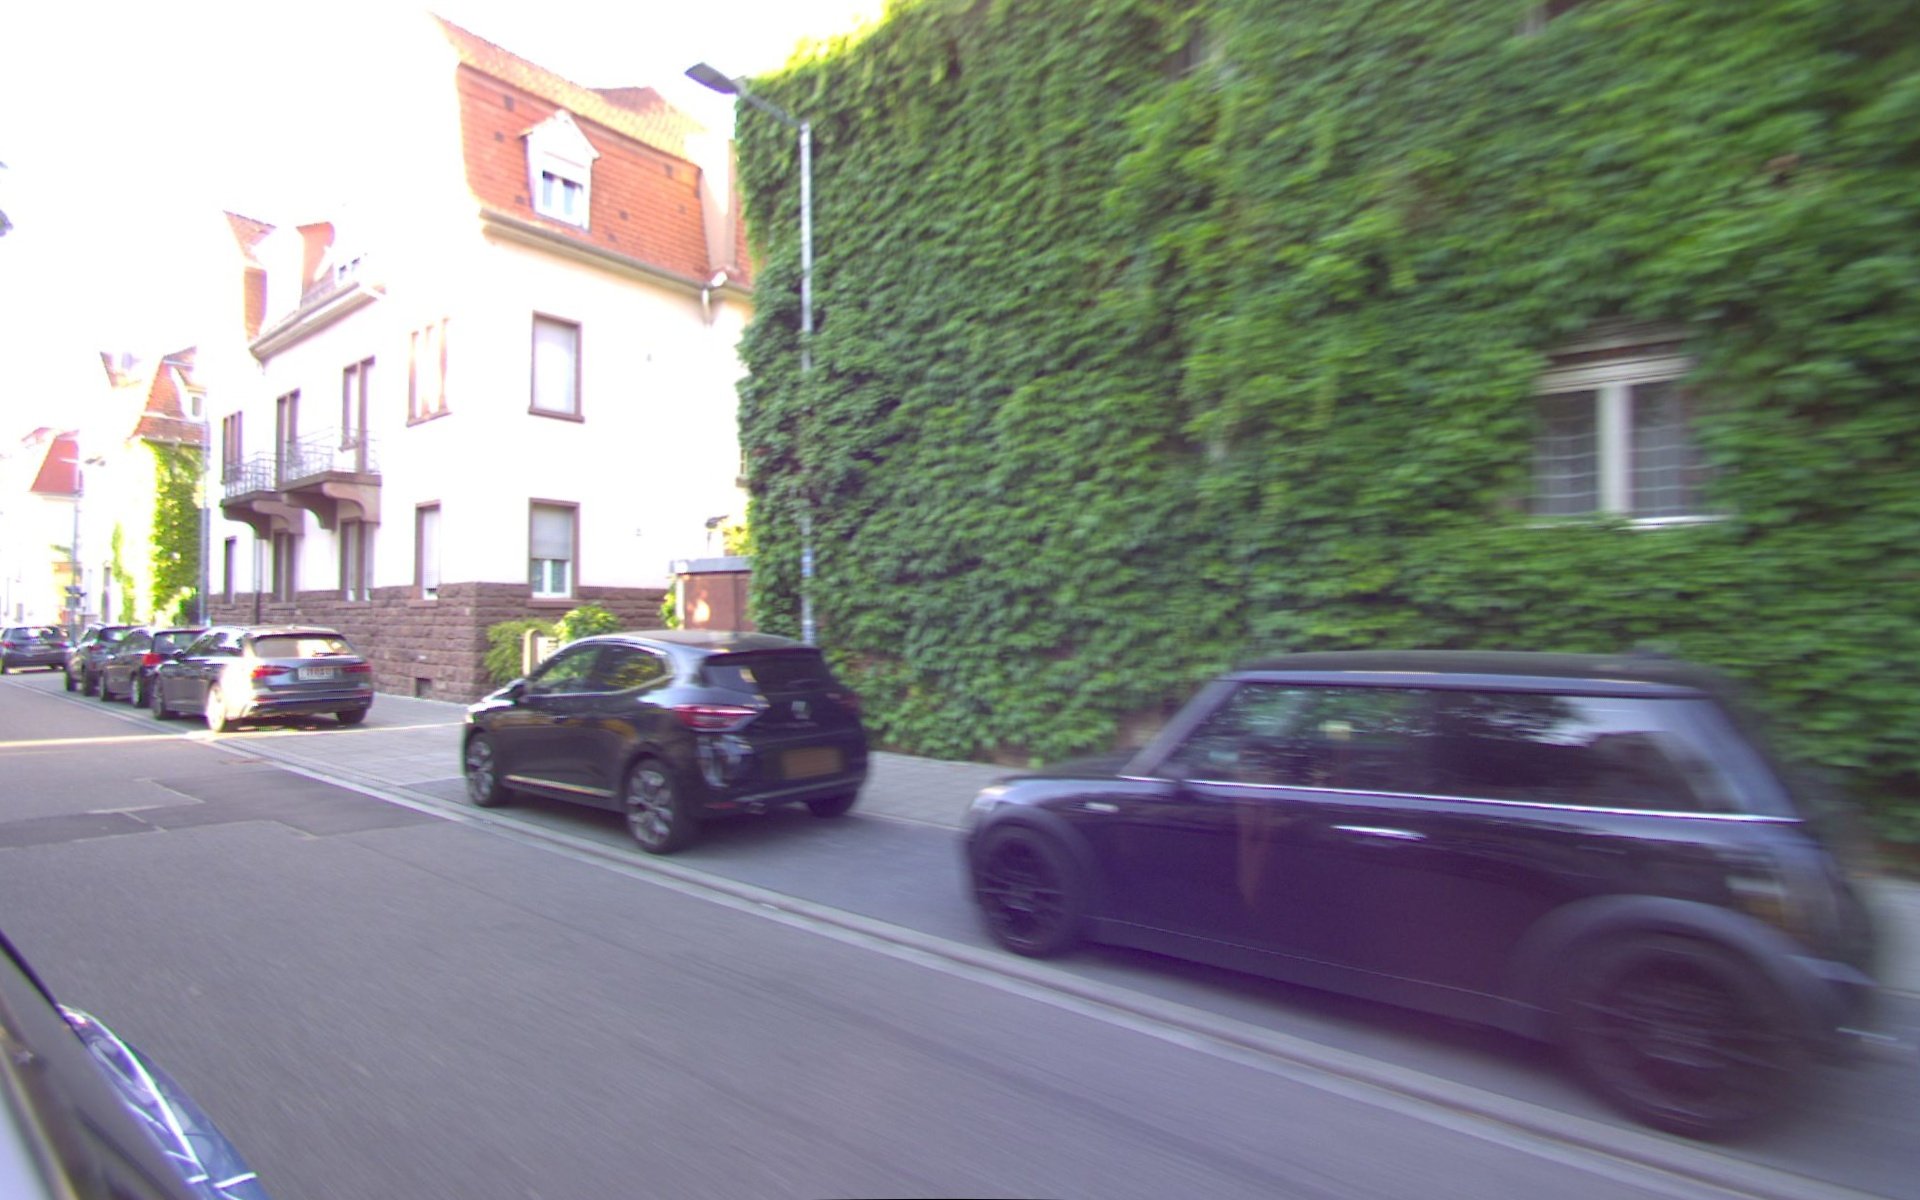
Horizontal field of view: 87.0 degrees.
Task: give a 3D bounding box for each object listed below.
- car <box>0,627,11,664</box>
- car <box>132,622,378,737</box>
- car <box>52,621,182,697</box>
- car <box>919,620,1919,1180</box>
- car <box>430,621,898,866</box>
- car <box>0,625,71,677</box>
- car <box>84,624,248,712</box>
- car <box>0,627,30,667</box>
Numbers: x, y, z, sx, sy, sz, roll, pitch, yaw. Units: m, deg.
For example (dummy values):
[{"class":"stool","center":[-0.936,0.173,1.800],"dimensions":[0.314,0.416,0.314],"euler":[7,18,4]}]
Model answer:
[{"class":"car","center":[-40.419,1.862,41.436],"dimensions":[4.629,1.481,1.692],"euler":[-1,0,39]},{"class":"car","center":[-10.711,1.085,15.239],"dimensions":[4.771,1.472,1.775],"euler":[-1,-2,39]},{"class":"car","center":[-18.440,1.223,22.088],"dimensions":[3.762,1.497,1.636],"euler":[-1,0,41]},{"class":"car","center":[1.750,0.807,4.314],"dimensions":[3.719,1.390,1.669],"euler":[-1,0,41]},{"class":"car","center":[-2.525,0.908,8.042],"dimensions":[4.097,1.431,1.632],"euler":[-1,0,41]},{"class":"car","center":[-28.867,1.535,31.256],"dimensions":[4.003,1.458,1.636],"euler":[-1,0,41]},{"class":"car","center":[-15.141,1.214,19.243],"dimensions":[3.840,1.458,1.637],"euler":[-1,0,39]},{"class":"car","center":[-36.390,1.760,38.019],"dimensions":[4.165,1.426,1.637],"euler":[-1,0,40]}]
